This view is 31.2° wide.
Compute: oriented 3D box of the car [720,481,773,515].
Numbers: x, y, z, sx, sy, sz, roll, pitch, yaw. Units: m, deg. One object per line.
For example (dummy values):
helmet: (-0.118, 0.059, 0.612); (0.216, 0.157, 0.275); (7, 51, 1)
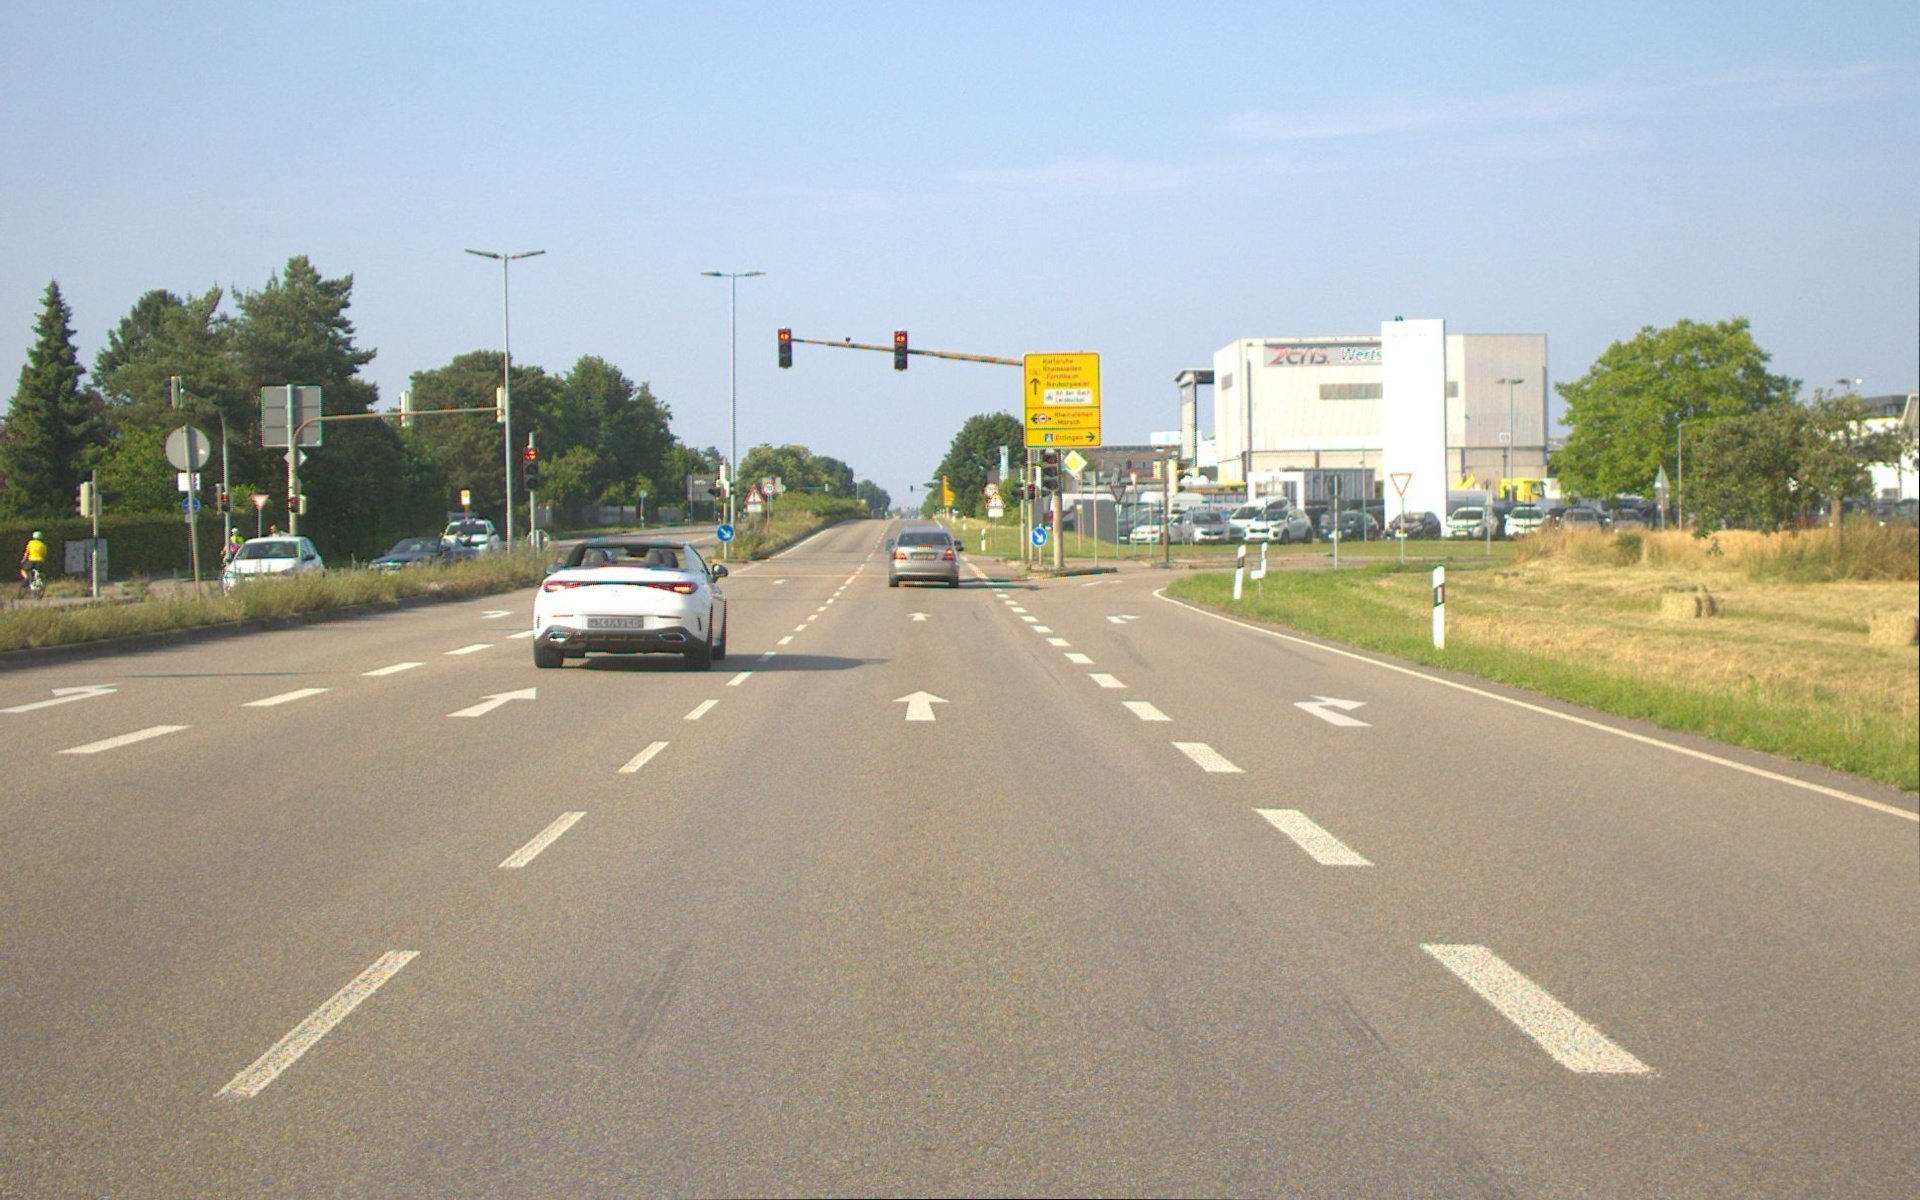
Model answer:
car: (-8.913, -4.281, 143.739); (1.947, 1.403, 4.000); (1, 2, 0)

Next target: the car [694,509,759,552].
car: (-8.089, -2.427, 119.251); (1.947, 1.403, 4.000); (1, 2, 0)

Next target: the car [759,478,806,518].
car: (-8.152, -4.697, 158.000); (1.947, 1.766, 4.000); (1, 2, 0)

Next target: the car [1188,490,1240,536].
car: (11.277, -3.875, 152.855); (1.993, 2.006, 4.000); (1, 2, 1)

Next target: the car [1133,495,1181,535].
car: (9.031, -3.929, 158.165); (1.993, 1.772, 4.000); (1, 2, 1)

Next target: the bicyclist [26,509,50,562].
bicyclist: (-23.758, -1.669, 88.608); (0.455, 1.347, 0.552); (-1, 2, -4)

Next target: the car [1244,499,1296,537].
car: (13.785, -3.682, 153.047); (1.993, 1.638, 4.000); (1, 2, 1)

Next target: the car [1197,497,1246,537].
car: (11.959, -3.807, 157.440); (1.993, 1.772, 4.000); (1, 2, 1)

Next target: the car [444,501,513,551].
car: (-17.638, -2.727, 125.978); (1.947, 1.794, 4.000); (1, 2, 0)

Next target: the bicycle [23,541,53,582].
bicycle: (-23.768, -1.000, 88.600); (0.407, 1.011, 1.604); (-1, 2, -4)

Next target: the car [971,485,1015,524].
car: (1.531, -4.417, 157.990); (1.993, 1.751, 4.000); (1, 2, 1)

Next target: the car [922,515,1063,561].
car: (1.024, -1.961, 107.942); (3.986, 1.403, 1.955); (0, 2, -20)

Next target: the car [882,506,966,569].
car: (-0.897, -1.545, 84.295); (1.993, 1.481, 4.001); (0, 2, -1)

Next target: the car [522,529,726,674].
car: (-3.572, -0.023, 37.156); (1.909, 1.417, 4.001); (0, 2, -1)

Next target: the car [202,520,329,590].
car: (-14.764, -0.985, 73.268); (1.993, 1.393, 4.001); (0, 2, -1)

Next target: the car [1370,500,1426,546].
car: (19.625, -3.487, 154.177); (1.993, 2.006, 4.000); (1, 2, 1)

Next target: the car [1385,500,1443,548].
car: (19.506, -3.285, 147.852); (1.993, 2.006, 4.000); (1, 2, 1)

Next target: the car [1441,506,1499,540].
car: (22.819, -3.453, 153.971); (1.993, 1.437, 4.000); (1, 2, 1)

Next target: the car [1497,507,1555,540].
car: (25.362, -3.438, 154.185); (1.993, 1.393, 4.000); (1, 2, 1)

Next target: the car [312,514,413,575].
car: (-15.325, -1.437, 88.340); (1.993, 1.481, 4.001); (0, 2, -1)
